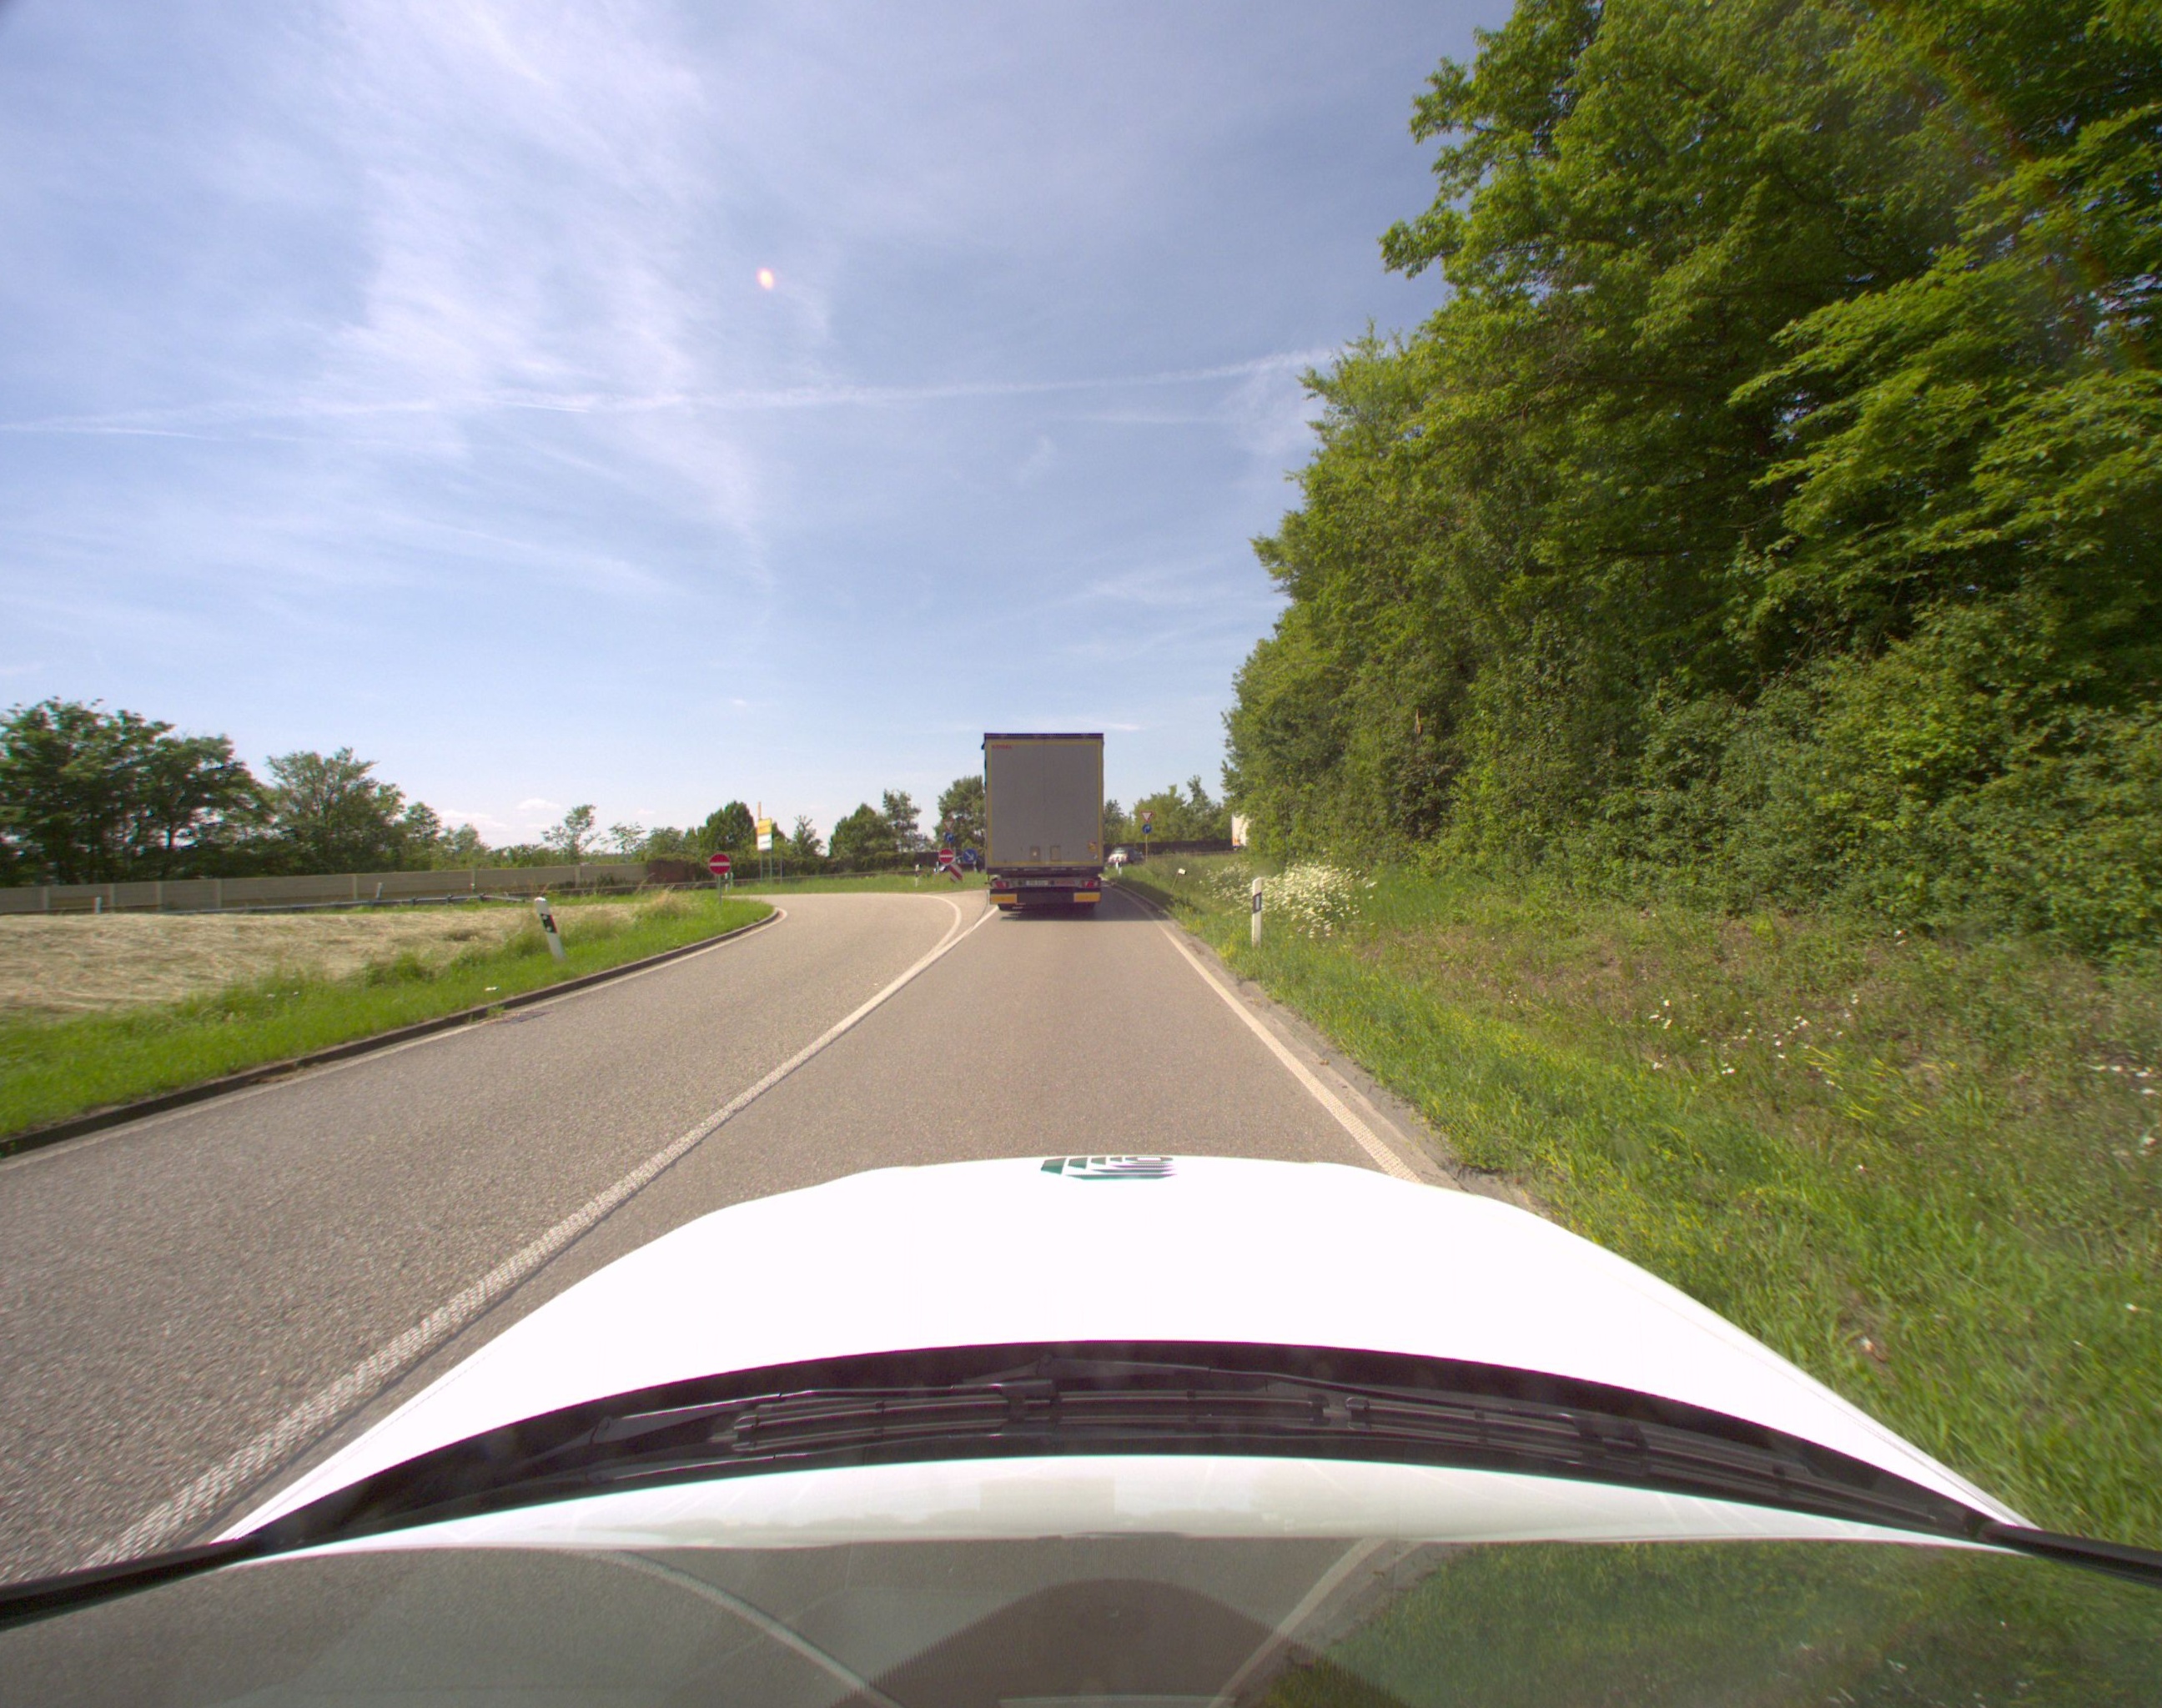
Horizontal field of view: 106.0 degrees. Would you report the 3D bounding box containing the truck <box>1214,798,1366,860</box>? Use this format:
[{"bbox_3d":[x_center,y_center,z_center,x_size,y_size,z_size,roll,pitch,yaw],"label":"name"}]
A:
[{"bbox_3d":[18.577,-2.251,71.007,16.287,4.744,3.796,-3,0,-40],"label":"truck"}]

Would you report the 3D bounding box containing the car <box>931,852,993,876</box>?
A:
[{"bbox_3d":[-8.655,0.698,59.308,4.122,1.538,1.737,-2,1,-33],"label":"car"}]

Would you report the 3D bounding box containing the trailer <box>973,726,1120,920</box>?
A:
[{"bbox_3d":[-0.836,-0.734,23.756,3.018,4.034,13.346,-1,1,-1],"label":"trailer"}]

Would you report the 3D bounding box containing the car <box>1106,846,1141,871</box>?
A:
[{"bbox_3d":[2.836,0.262,53.596,1.655,1.486,4.014,-2,0,12],"label":"car"}]
